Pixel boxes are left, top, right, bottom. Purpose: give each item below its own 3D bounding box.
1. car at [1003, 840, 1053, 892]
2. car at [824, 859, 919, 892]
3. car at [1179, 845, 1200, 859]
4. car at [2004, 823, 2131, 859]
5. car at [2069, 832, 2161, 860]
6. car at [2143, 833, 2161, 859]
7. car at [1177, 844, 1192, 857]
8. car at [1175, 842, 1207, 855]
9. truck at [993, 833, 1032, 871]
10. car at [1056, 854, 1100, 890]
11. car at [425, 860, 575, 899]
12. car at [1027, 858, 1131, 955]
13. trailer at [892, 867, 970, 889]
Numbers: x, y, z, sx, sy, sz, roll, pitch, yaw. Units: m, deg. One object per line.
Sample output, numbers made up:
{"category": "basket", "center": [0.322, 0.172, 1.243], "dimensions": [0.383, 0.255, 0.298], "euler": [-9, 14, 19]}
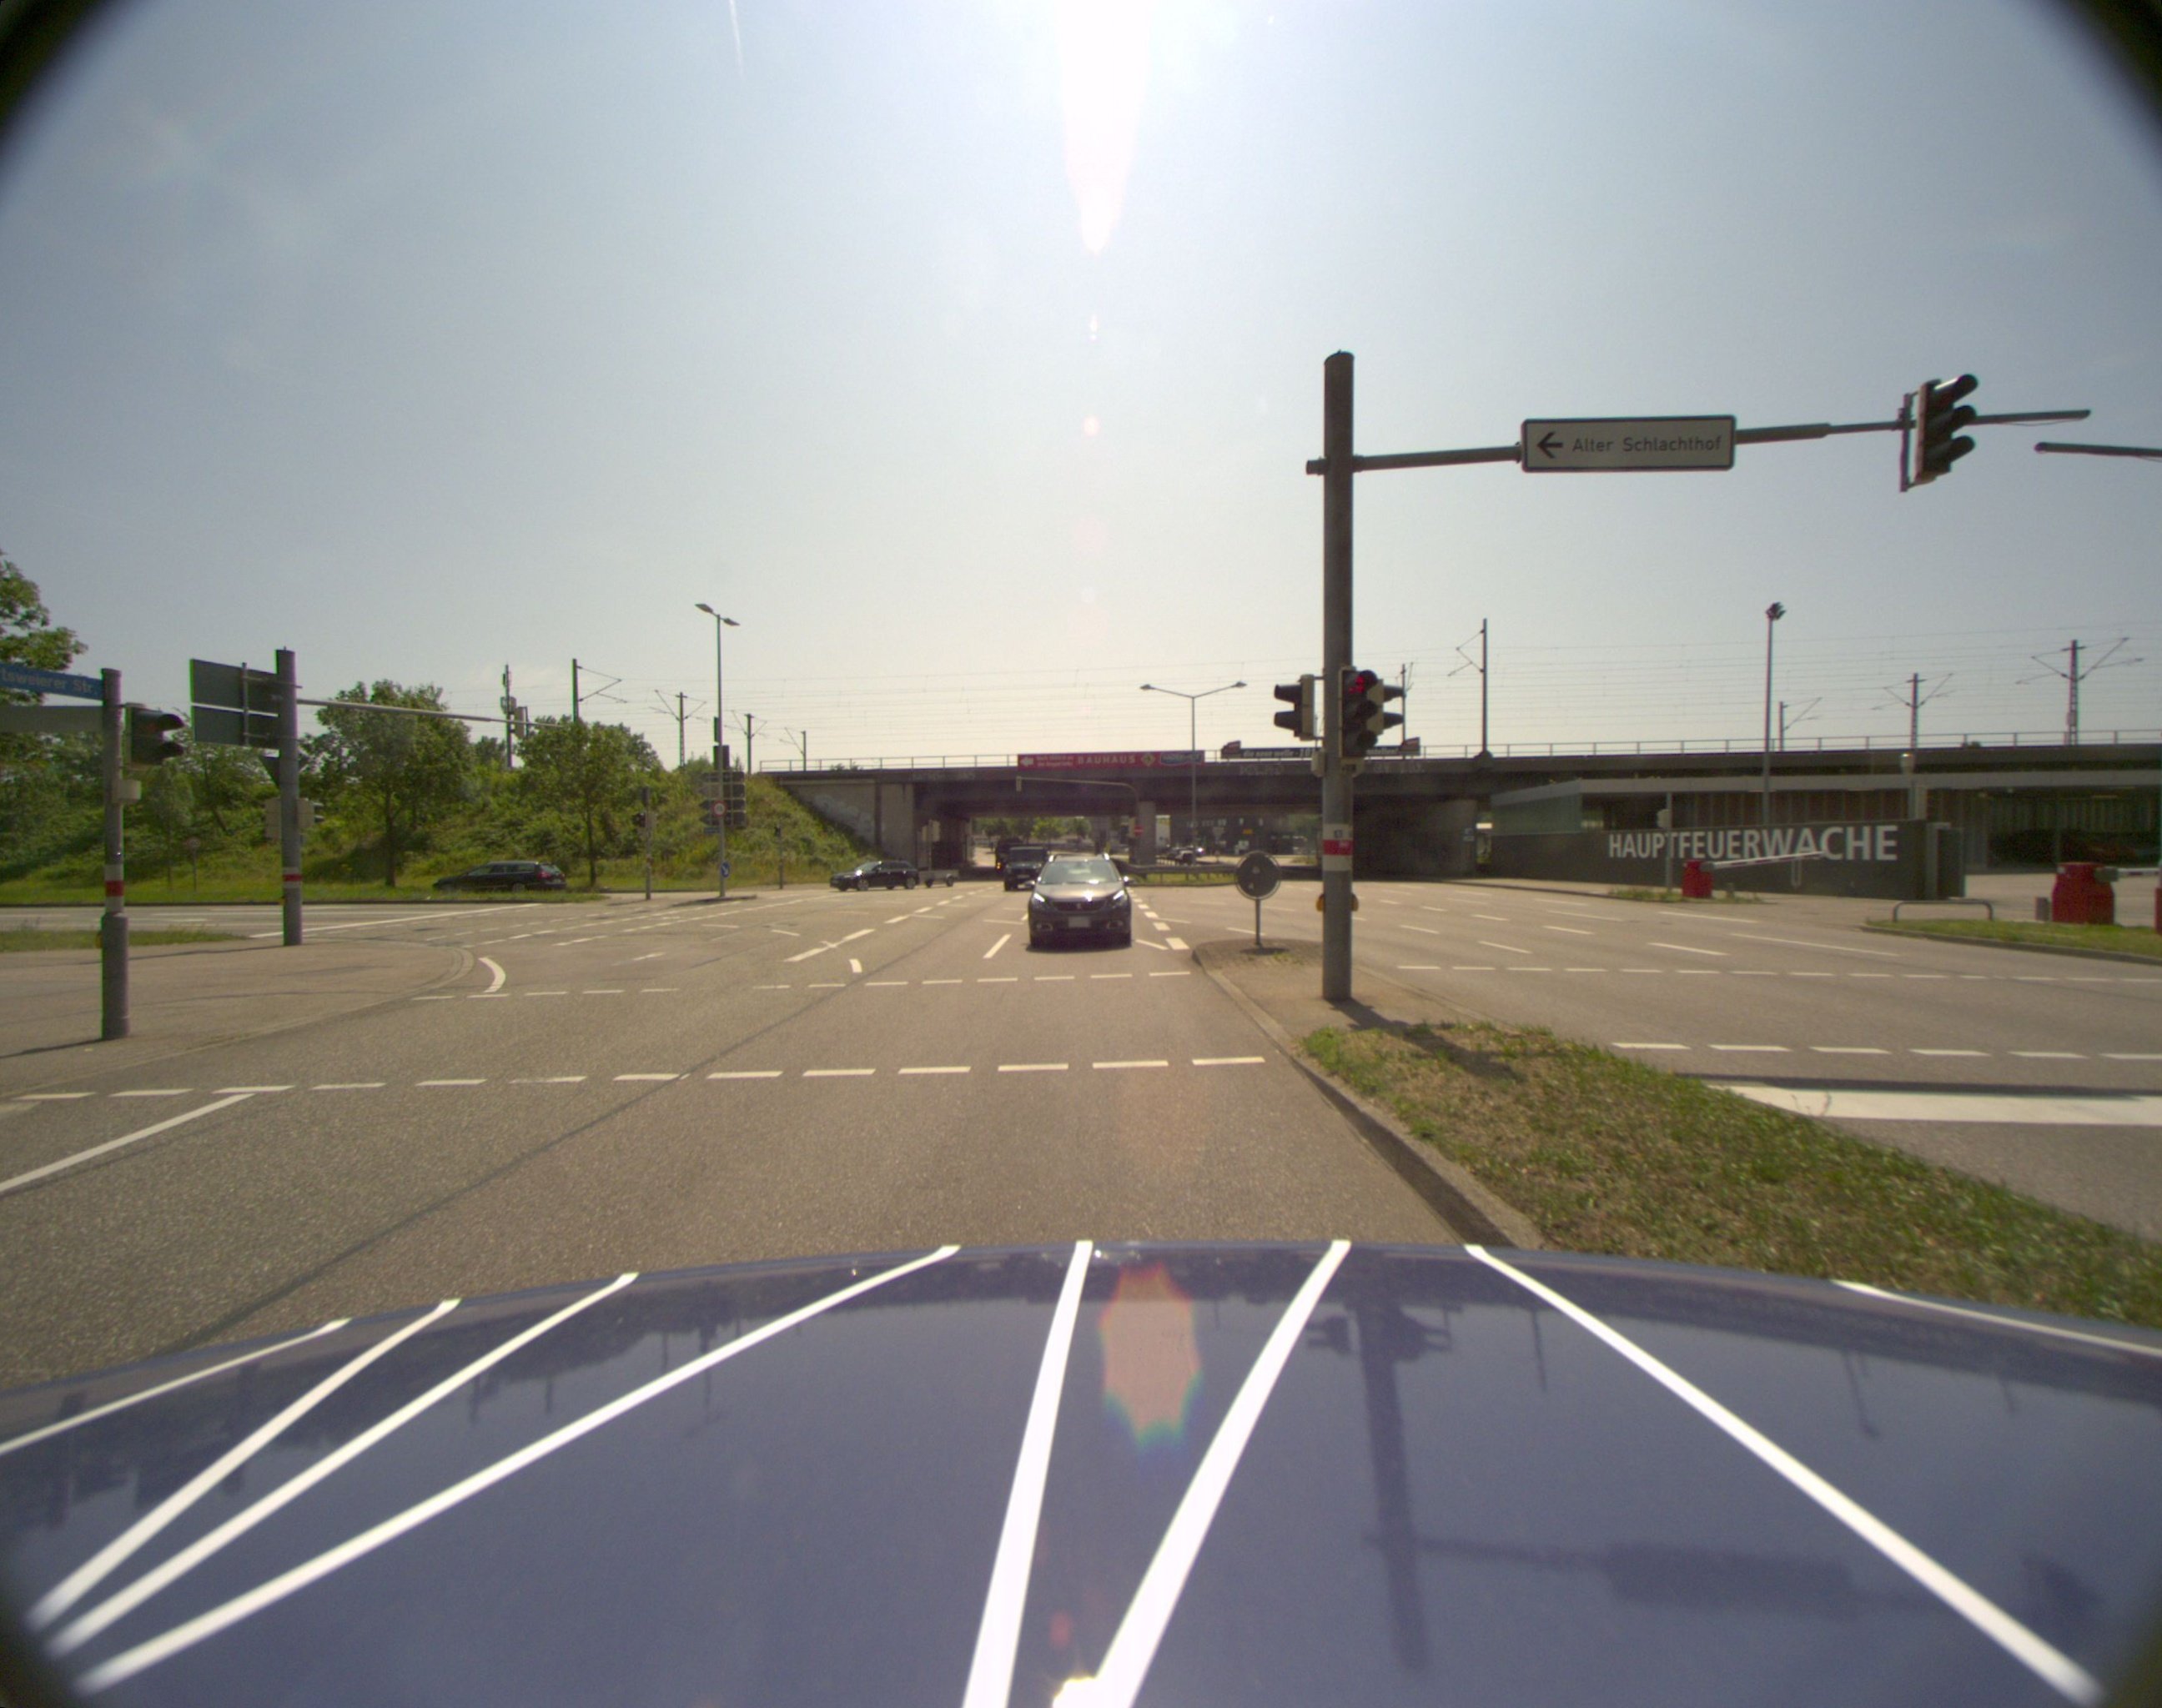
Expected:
{"category": "car", "center": [-2.295, 0.484, 34.050], "dimensions": [1.841, 2.141, 4.557], "euler": [-1, 1, 1]}
{"category": "car", "center": [-9.708, 0.944, 35.464], "dimensions": [1.804, 1.382, 3.911], "euler": [0, 1, 41]}
{"category": "car", "center": [10.953, -0.204, 76.993], "dimensions": [1.710, 1.442, 3.373], "euler": [-1, 1, 2]}
{"category": "car", "center": [48.933, -0.627, 37.798], "dimensions": [1.631, 1.661, 3.789], "euler": [-1, 0, 7]}
{"category": "car", "center": [51.475, -0.409, 37.300], "dimensions": [1.631, 1.319, 3.470], "euler": [-1, 0, 7]}
{"category": "car", "center": [54.623, -0.409, 36.813], "dimensions": [1.631, 1.319, 3.470], "euler": [-1, 0, 7]}
{"category": "car", "center": [12.496, -0.481, 91.349], "dimensions": [1.709, 1.535, 3.375], "euler": [-1, 1, 9]}
{"category": "car", "center": [14.984, -0.714, 103.680], "dimensions": [3.991, 1.674, 2.003], "euler": [-1, 1, 18]}
{"category": "truck", "center": [-5.644, -0.177, 62.873], "dimensions": [2.886, 2.899, 8.512], "euler": [-2, 0, -5]}
{"category": "car", "center": [-0.094, 0.762, 34.349], "dimensions": [1.817, 1.456, 4.000], "euler": [-1, 1, 1]}
{"category": "car", "center": [-24.116, 1.031, 31.699], "dimensions": [4.672, 1.494, 1.808], "euler": [-1, 1, -6]}
{"category": "car", "center": [0.093, 0.843, 14.274], "dimensions": [1.619, 1.503, 4.459], "euler": [-1, 0, 3]}
{"category": "trailer", "center": [-7.544, 1.173, 38.462], "dimensions": [1.677, 0.936, 3.840], "euler": [0, 0, 32]}
